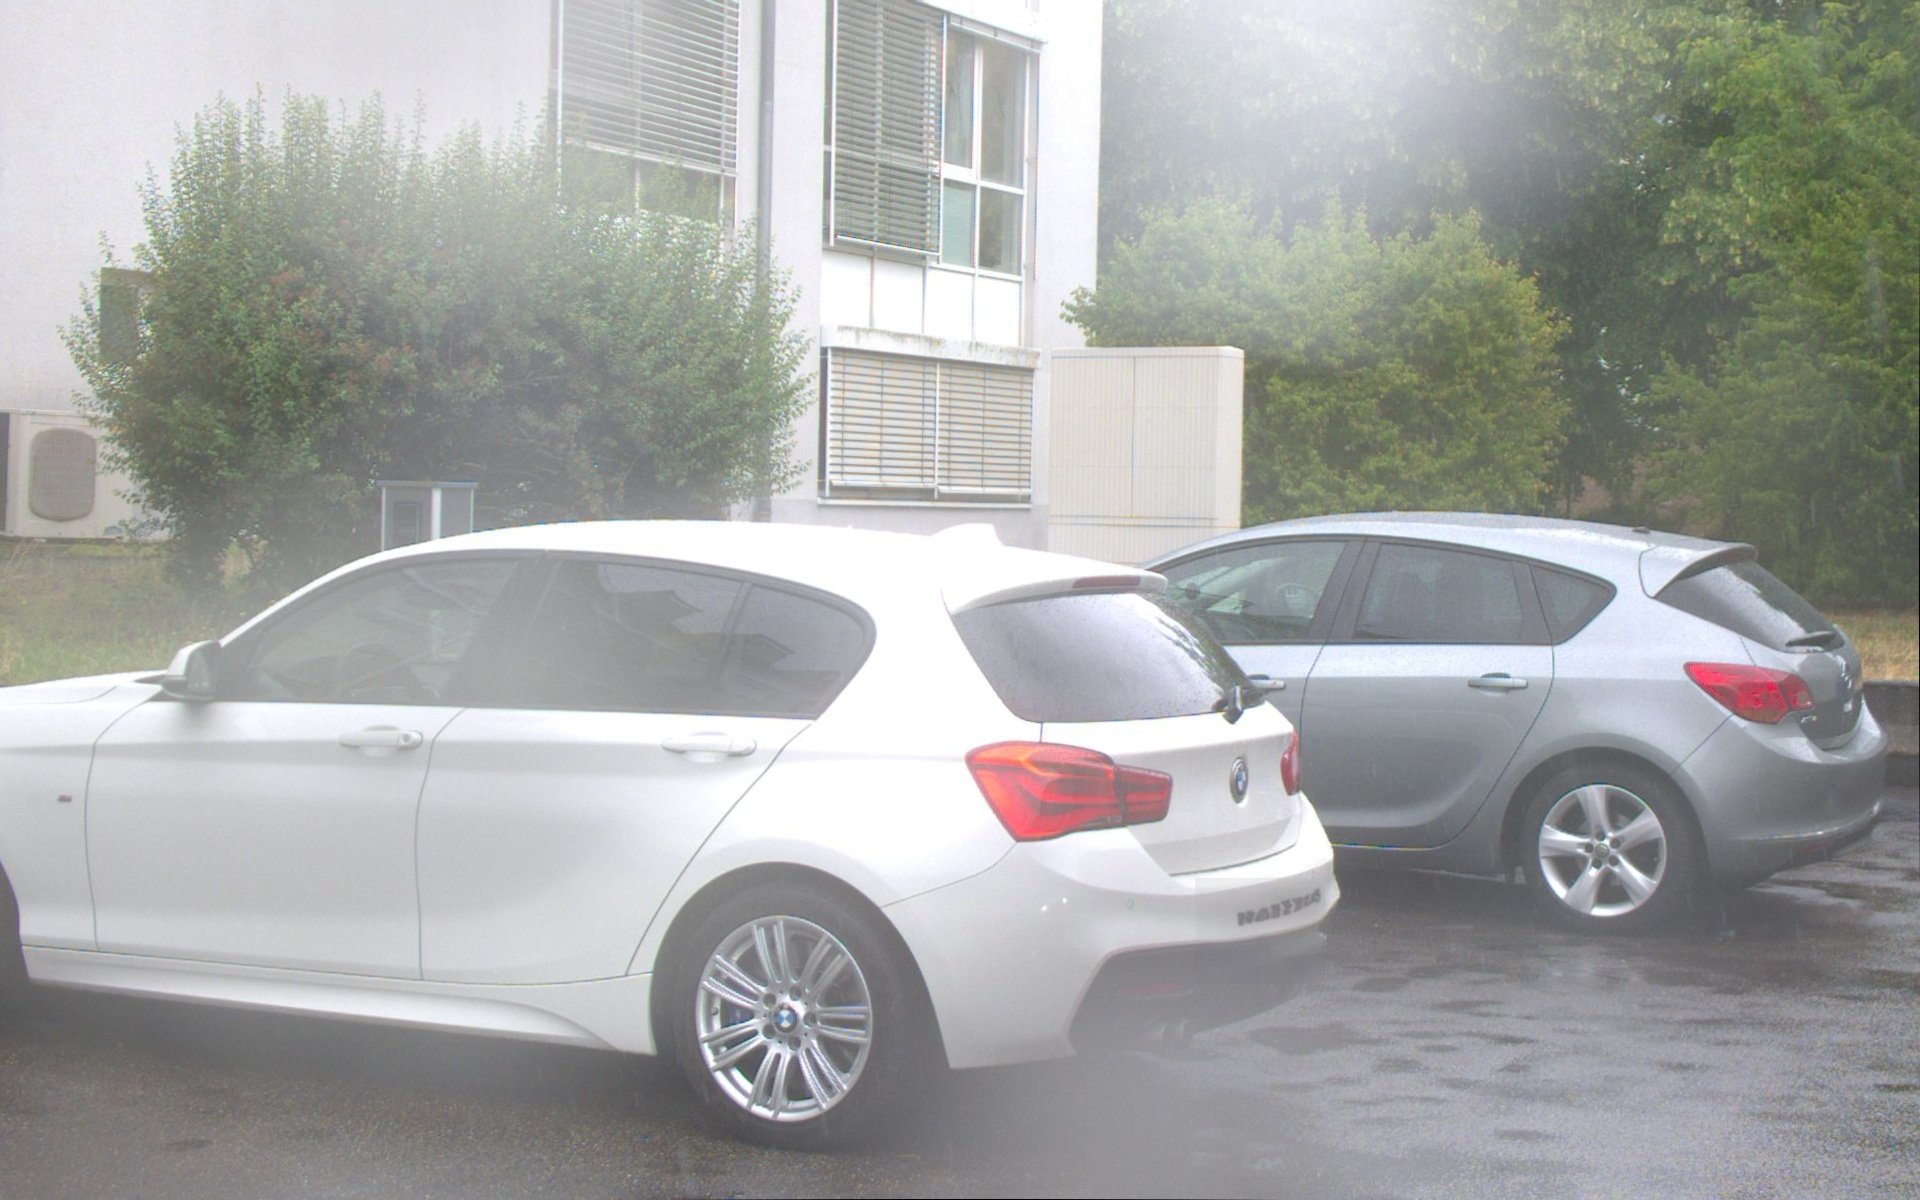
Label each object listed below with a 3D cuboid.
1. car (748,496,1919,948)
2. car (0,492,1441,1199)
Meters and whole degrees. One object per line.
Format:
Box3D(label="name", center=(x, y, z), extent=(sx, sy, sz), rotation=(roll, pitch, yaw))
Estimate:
Box3D(label="car", center=(1.497, 0.386, 13.631), extent=(4.214, 1.484, 1.997), rotation=(2, 1, 27))
Box3D(label="car", center=(-1.065, 0.493, 9.231), extent=(4.214, 1.484, 1.997), rotation=(2, 1, 27))
